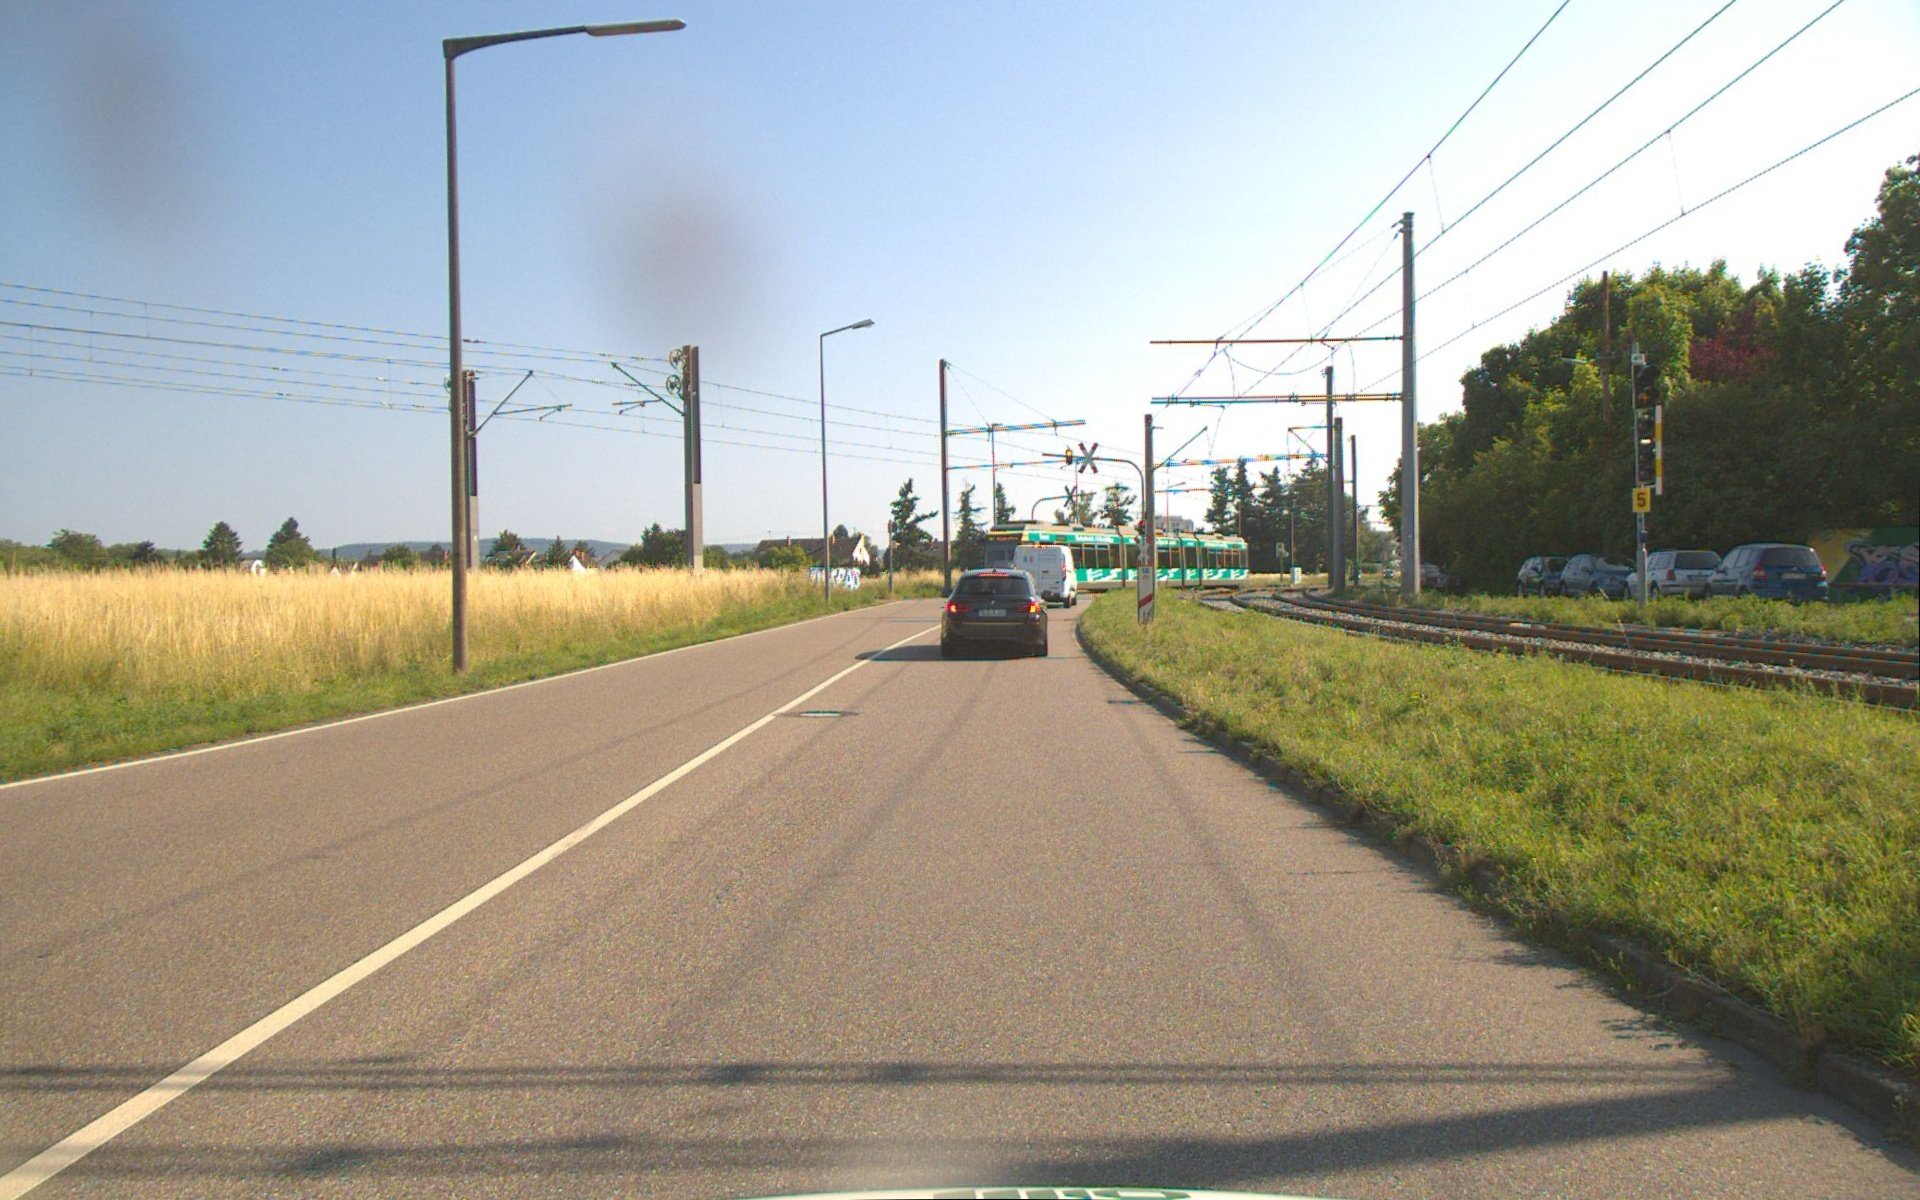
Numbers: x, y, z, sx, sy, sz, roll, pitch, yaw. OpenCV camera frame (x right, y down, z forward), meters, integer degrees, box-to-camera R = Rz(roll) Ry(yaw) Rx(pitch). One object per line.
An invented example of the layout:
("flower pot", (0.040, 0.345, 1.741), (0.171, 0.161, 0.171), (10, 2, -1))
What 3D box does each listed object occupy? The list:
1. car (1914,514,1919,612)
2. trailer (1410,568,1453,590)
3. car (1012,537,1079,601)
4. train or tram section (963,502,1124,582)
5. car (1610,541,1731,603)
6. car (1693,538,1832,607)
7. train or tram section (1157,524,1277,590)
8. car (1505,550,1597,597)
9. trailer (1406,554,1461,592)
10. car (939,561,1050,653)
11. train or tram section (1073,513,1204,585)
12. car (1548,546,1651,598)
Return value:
("car", (16.811, -0.600, 25.531), (1.491, 1.638, 4.483), (-2, 1, -1))
("trailer", (22.269, -0.982, 78.234), (1.694, 0.955, 3.731), (2, 1, 12))
("car", (2.903, -1.040, 55.418), (1.818, 2.022, 5.113), (0, 1, 8))
("train or tram section", (4.344, -2.716, 81.678), (2.895, 3.545, 12.144), (1, 0, 29))
("car", (18.567, -0.751, 43.436), (1.673, 1.491, 4.393), (-1, 1, 6))
("car", (18.093, -0.650, 37.461), (1.642, 1.455, 3.915), (1, 2, 7))
("train or tram section", (16.360, -2.552, 104.007), (2.851, 3.631, 14.239), (1, 0, 28))
("car", (18.967, -0.854, 53.296), (1.588, 1.435, 4.524), (0, 1, 4))
("trailer", (21.245, -1.222, 74.310), (1.983, 1.624, 4.264), (2, 1, 11))
("car", (0.631, 0.058, 29.647), (1.830, 1.477, 4.745), (0, 2, 1))
("train or tram section", (10.148, -2.705, 92.351), (2.862, 3.514, 12.147), (1, 0, 28))
("car", (18.644, -0.816, 48.370), (1.454, 1.425, 4.151), (-1, 1, 1))
